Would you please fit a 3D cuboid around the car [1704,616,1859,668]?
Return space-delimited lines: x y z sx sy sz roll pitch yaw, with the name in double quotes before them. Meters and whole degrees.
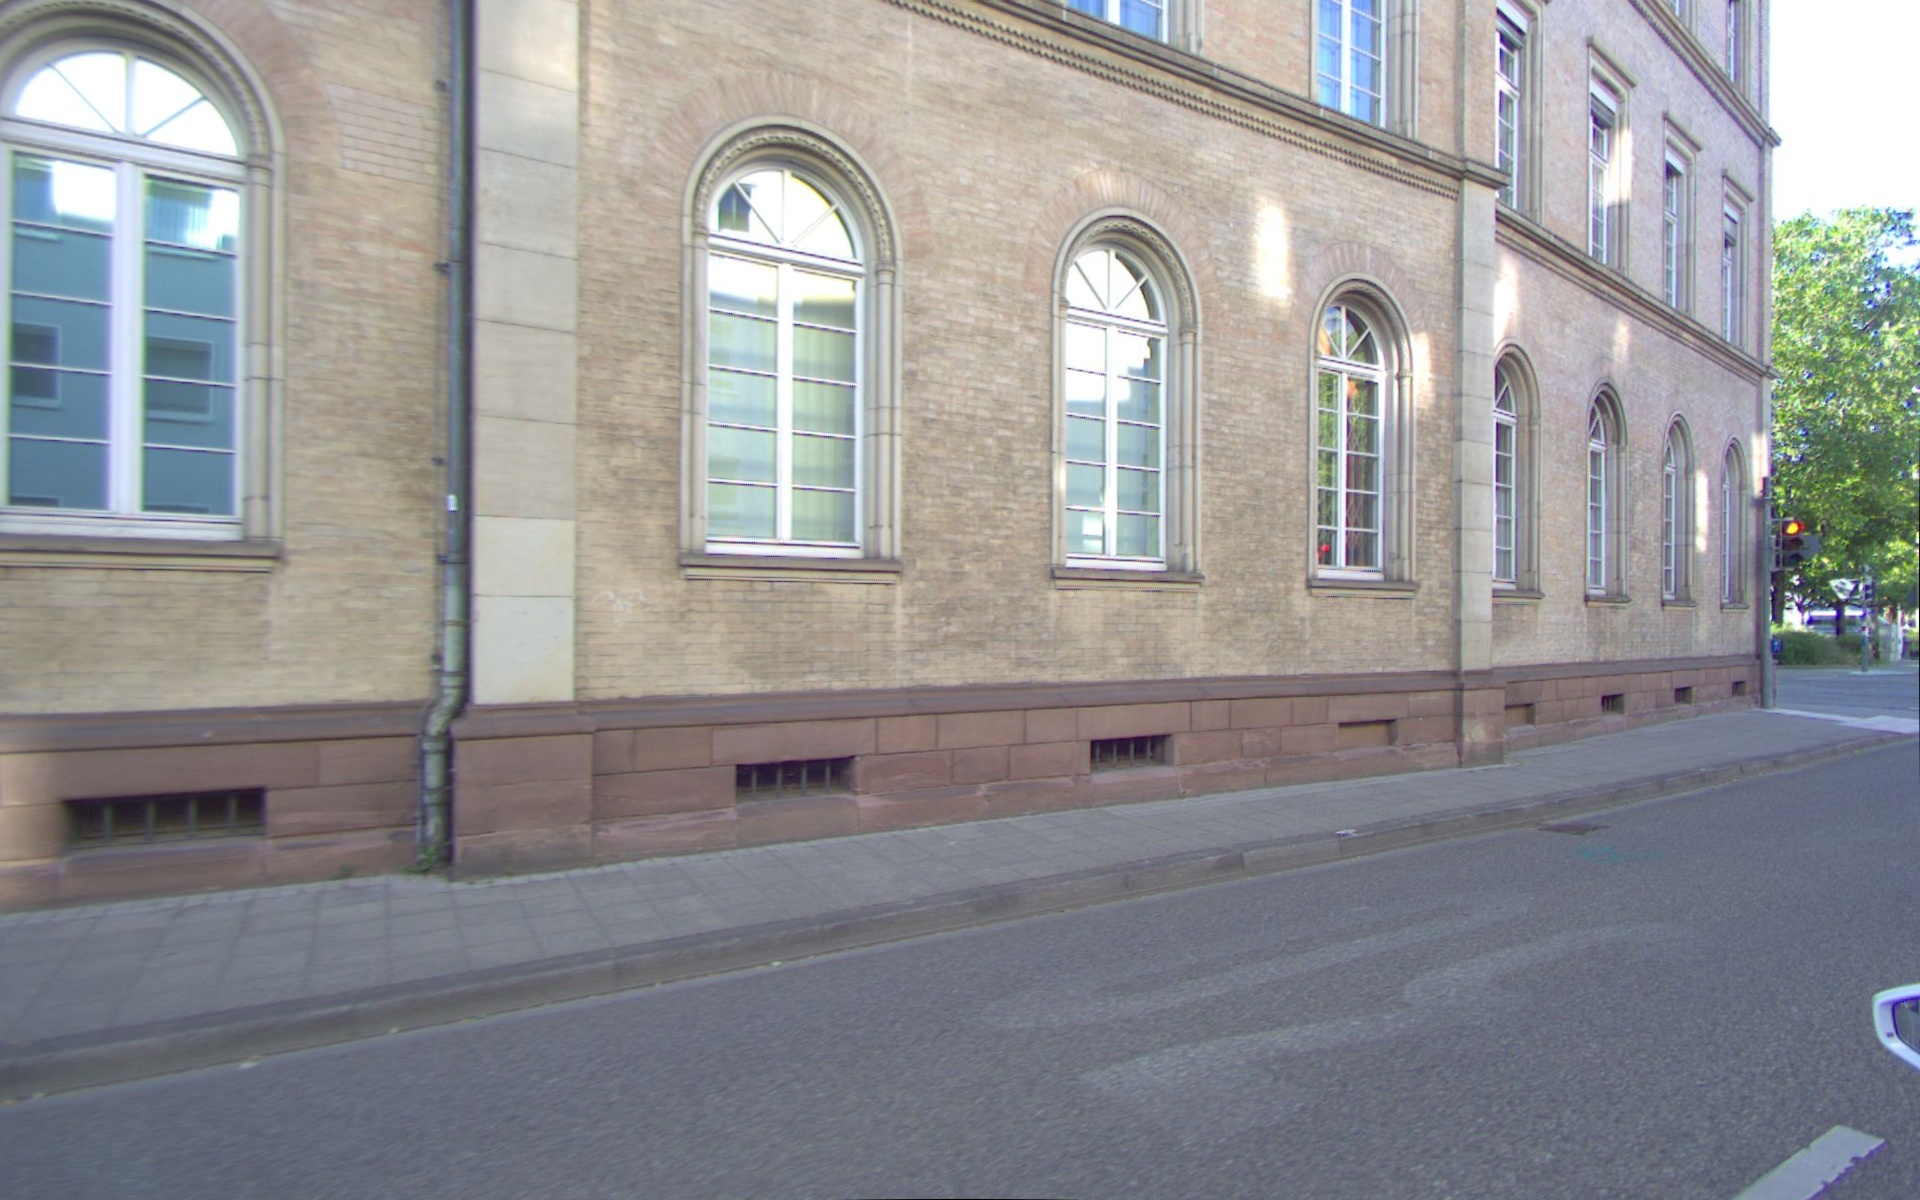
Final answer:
"car" 30.404 1.502 37.273 1.889 1.801 4.190 1 -1 -39
